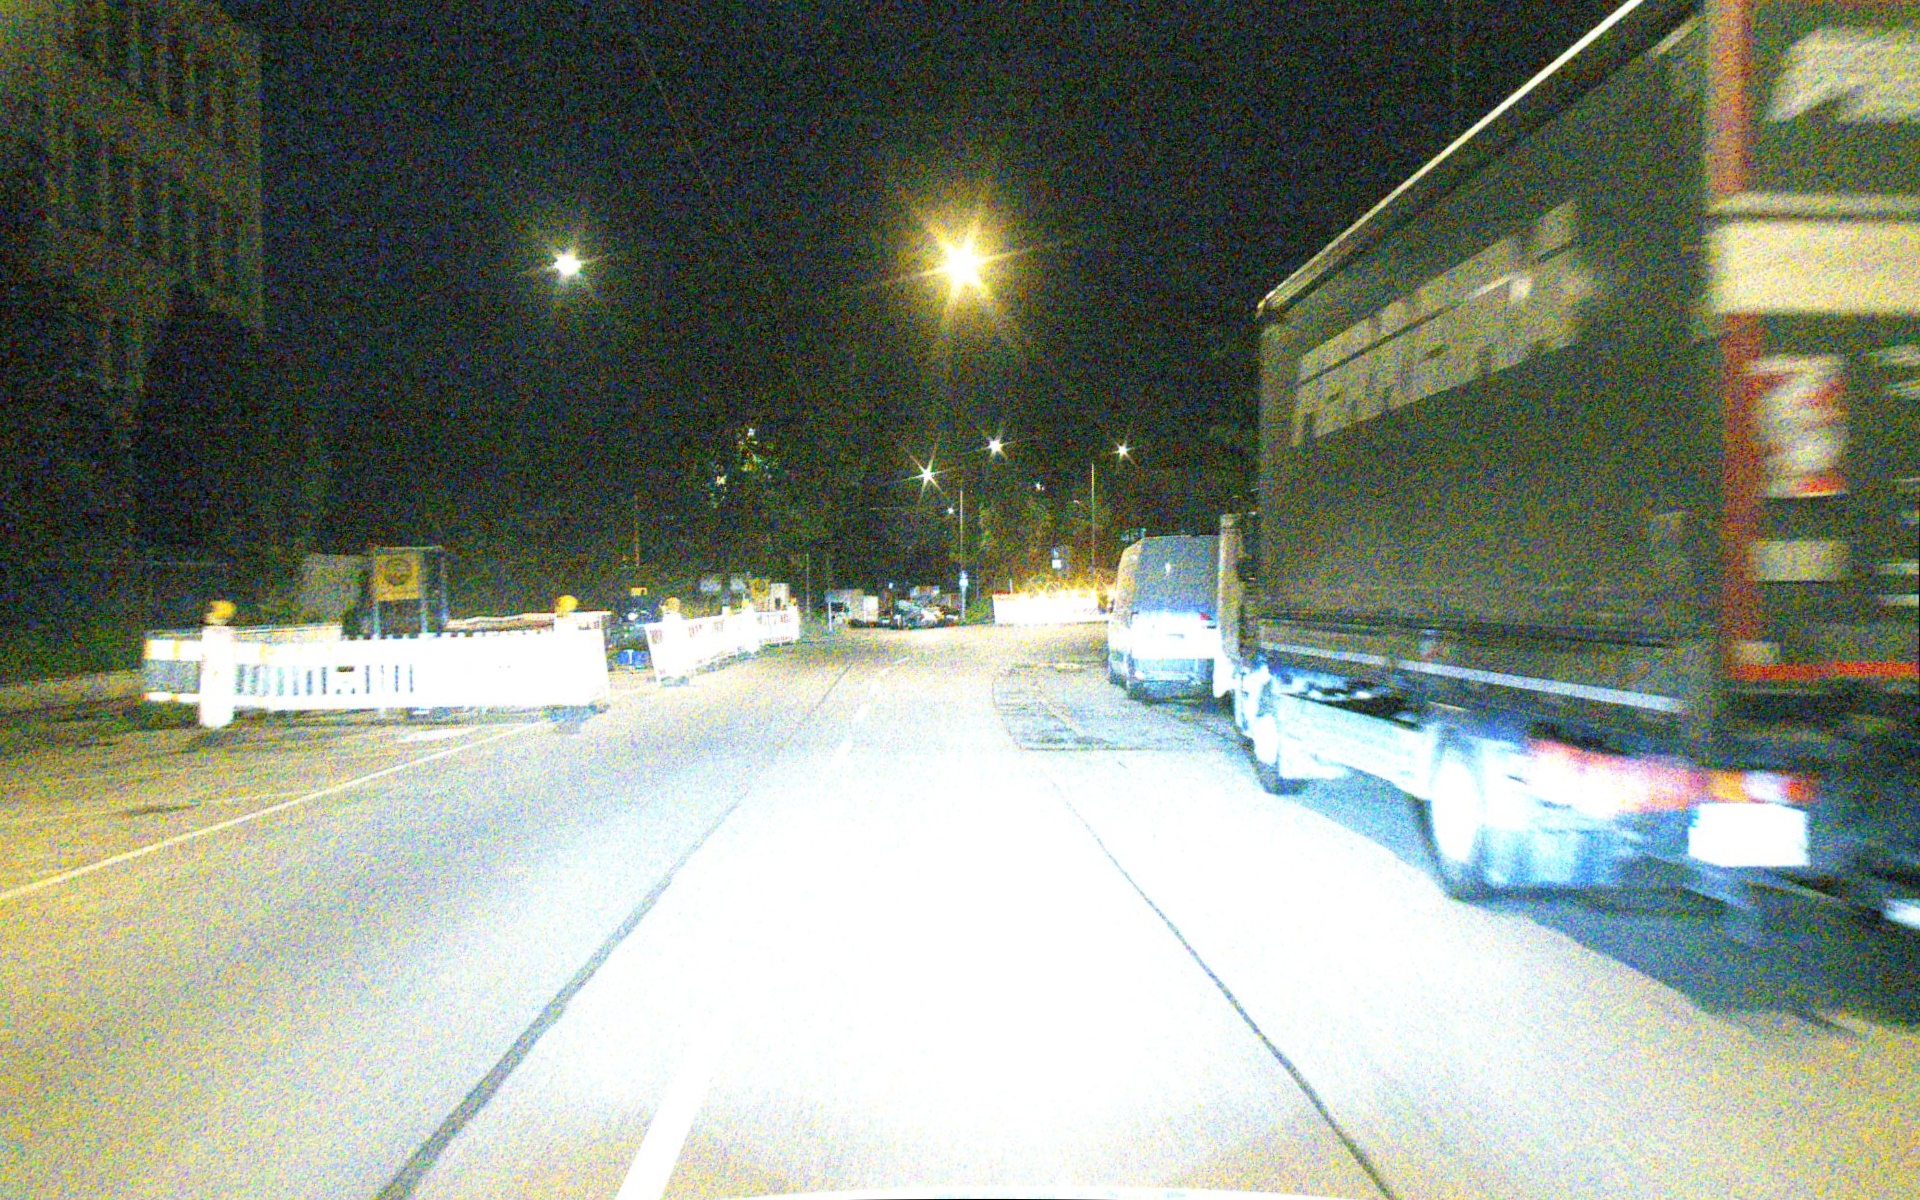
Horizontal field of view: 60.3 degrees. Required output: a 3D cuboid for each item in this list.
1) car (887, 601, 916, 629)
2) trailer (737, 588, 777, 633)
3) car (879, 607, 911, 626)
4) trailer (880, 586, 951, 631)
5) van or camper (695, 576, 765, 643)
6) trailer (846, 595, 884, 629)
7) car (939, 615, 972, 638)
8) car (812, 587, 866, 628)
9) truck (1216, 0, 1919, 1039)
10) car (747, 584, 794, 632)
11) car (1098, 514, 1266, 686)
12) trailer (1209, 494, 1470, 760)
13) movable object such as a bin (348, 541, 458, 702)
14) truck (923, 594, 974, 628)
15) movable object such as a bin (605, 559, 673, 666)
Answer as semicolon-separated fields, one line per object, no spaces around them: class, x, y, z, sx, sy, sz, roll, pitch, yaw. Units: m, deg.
car;-3.614;0.935;102.262;1.686;1.690;3.999;0;-1;-1
trailer;-12.221;0.642;99.857;1.953;2.571;3.567;-2;0;-2
car;-6.072;1.533;154.715;1.951;1.729;4.209;0;-1;13
trailer;-2.393;0.462;87.328;1.542;2.198;5.171;-2;-1;-29
van or camper;-11.599;0.485;84.074;2.468;3.148;7.444;-2;0;0
trailer;-8.238;1.056;143.721;1.951;2.862;4.707;-1;0;13
car;-0.316;2.108;130.933;1.684;1.853;4.003;0;-1;13
car;-10.016;0.574;137.223;2.465;3.226;7.144;-2;0;12
truck;4.077;-0.474;10.295;3.257;3.936;9.324;0;0;-2
car;-12.386;0.541;108.509;2.469;2.978;7.196;-2;0;-3
car;3.568;-0.028;27.836;2.065;2.560;6.372;0;0;1
trailer;3.983;0.237;18.209;1.599;2.517;5.026;0;0;-1
movable object such as a bin;-9.355;0.348;27.655;1.527;2.510;2.820;-2;-1;-22
truck;-1.129;1.076;171.608;1.953;3.463;8.978;0;0;22
movable object such as a bin;-8.940;0.320;46.304;1.541;2.781;3.694;-3;1;-8
